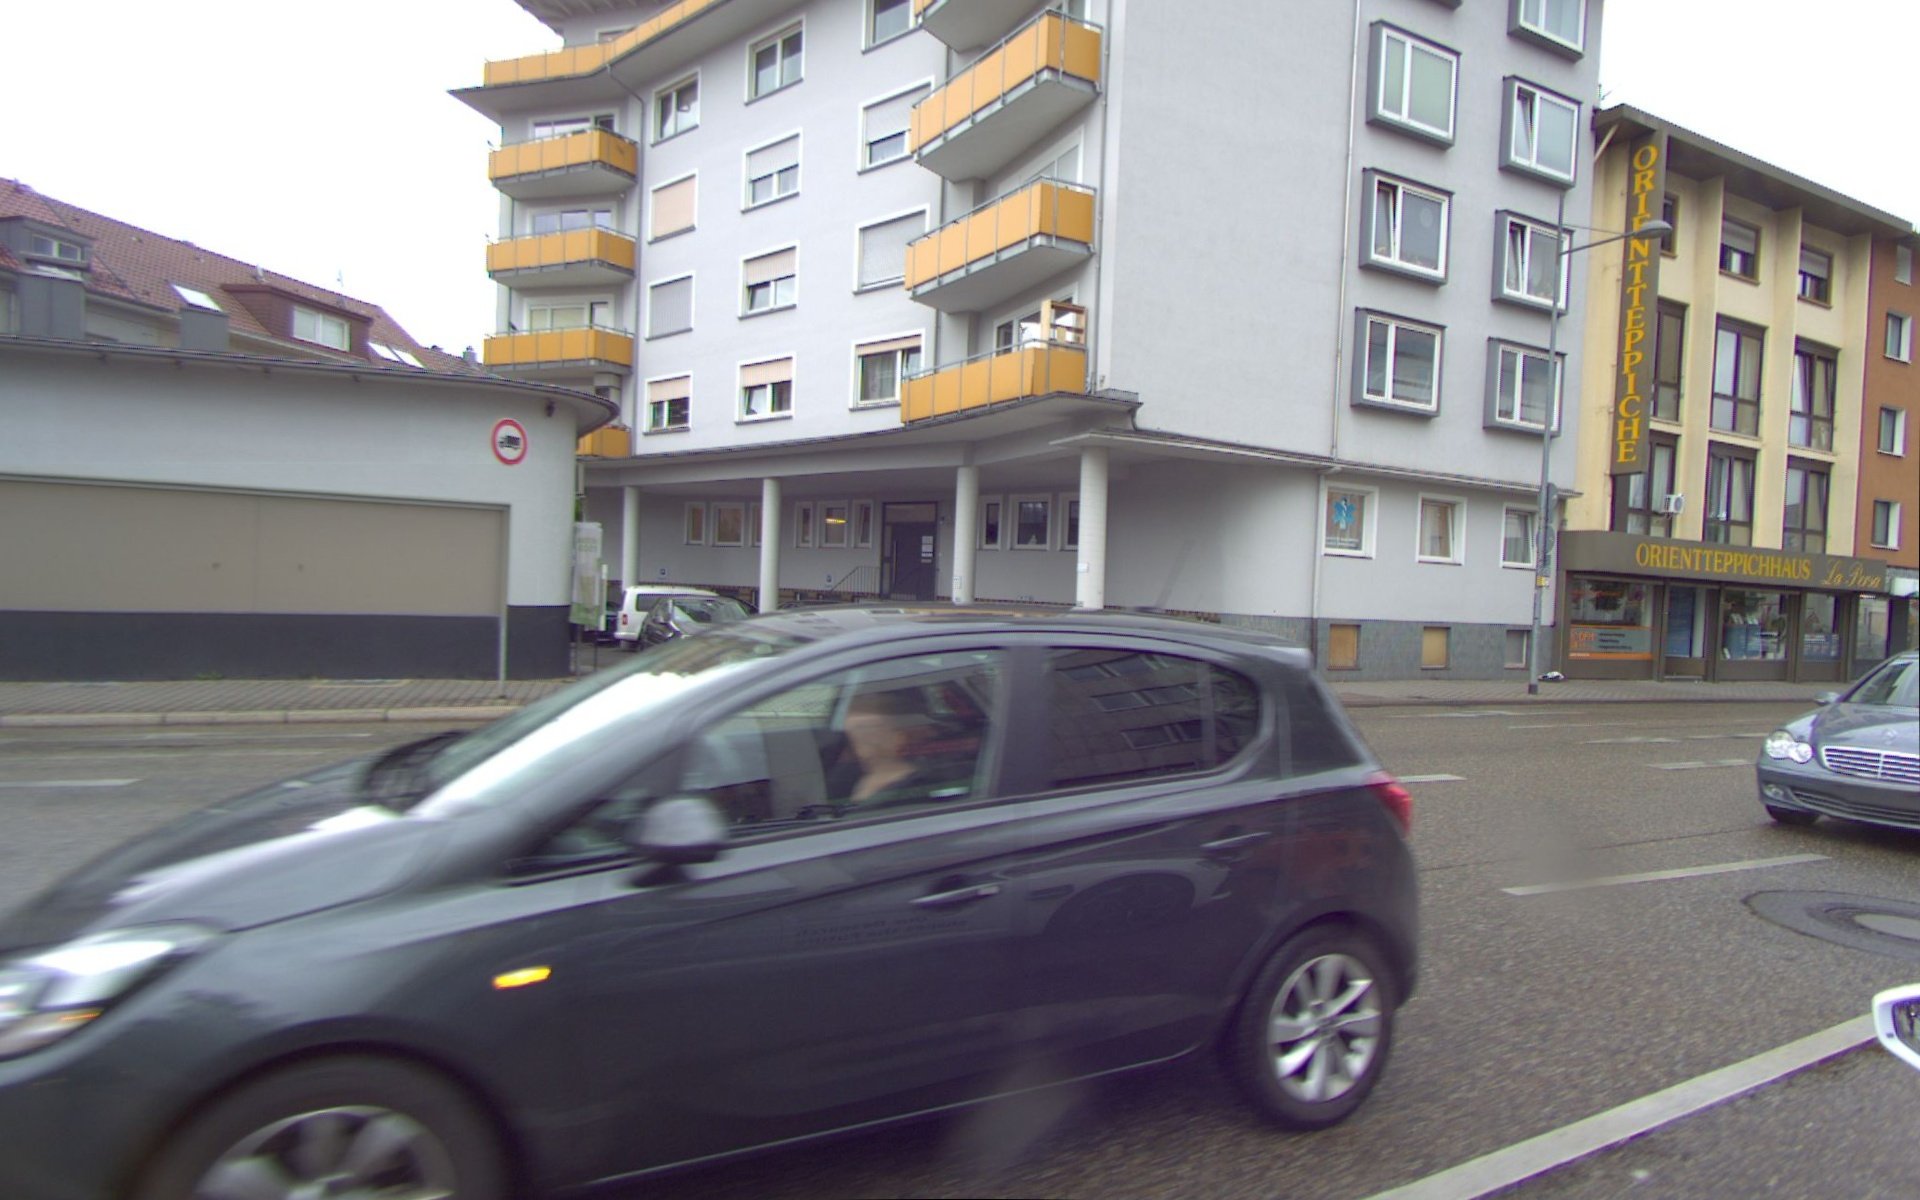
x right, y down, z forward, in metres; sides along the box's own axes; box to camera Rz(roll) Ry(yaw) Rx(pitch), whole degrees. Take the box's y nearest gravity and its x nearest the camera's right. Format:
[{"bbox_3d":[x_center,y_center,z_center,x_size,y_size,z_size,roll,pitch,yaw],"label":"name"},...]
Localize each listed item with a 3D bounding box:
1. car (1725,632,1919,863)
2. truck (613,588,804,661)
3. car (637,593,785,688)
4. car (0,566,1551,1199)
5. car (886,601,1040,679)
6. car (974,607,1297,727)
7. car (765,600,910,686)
[{"bbox_3d":[8.064,1.062,7.857,4.361,1.459,1.725,2,0,-30],"label":"car"},{"bbox_3d":[-7.614,0.777,30.528,5.345,1.894,1.787,4,-3,-24],"label":"truck"},{"bbox_3d":[-4.482,0.706,17.680,1.774,1.439,3.801,4,-3,-25],"label":"car"},{"bbox_3d":[-0.305,0.718,3.063,3.934,1.473,1.639,2,1,-24],"label":"car"},{"bbox_3d":[-0.030,0.763,19.503,1.477,1.356,3.609,2,-2,-28],"label":"car"},{"bbox_3d":[2.410,0.919,13.715,4.055,1.384,1.723,3,0,-25],"label":"car"},{"bbox_3d":[-2.399,0.793,18.873,1.616,1.439,3.746,2,-2,-25],"label":"car"}]
